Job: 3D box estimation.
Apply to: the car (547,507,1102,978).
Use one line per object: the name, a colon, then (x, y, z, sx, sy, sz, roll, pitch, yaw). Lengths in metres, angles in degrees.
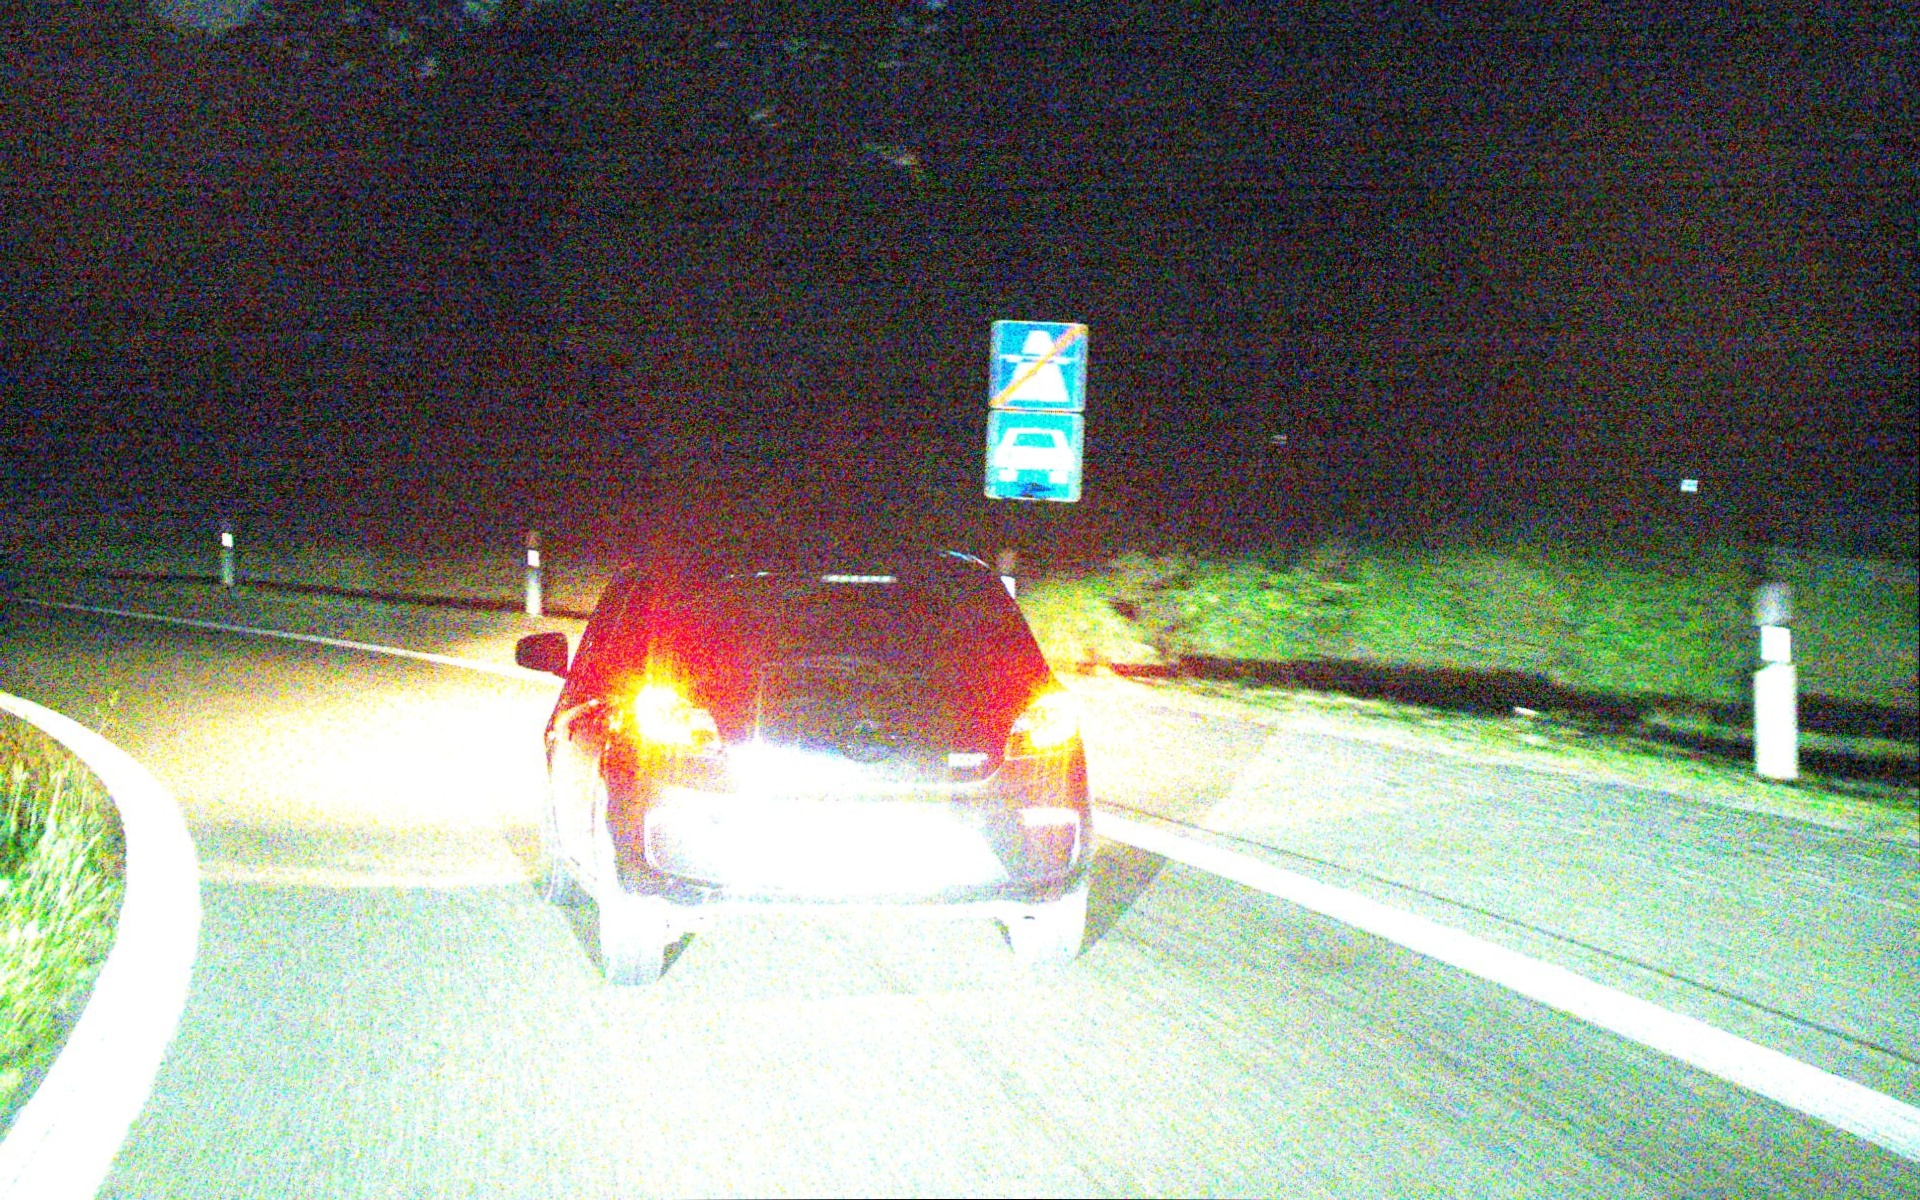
car: (-0.656, 0.480, 12.853, 1.691, 1.473, 4.001, 0, -1, -8)
